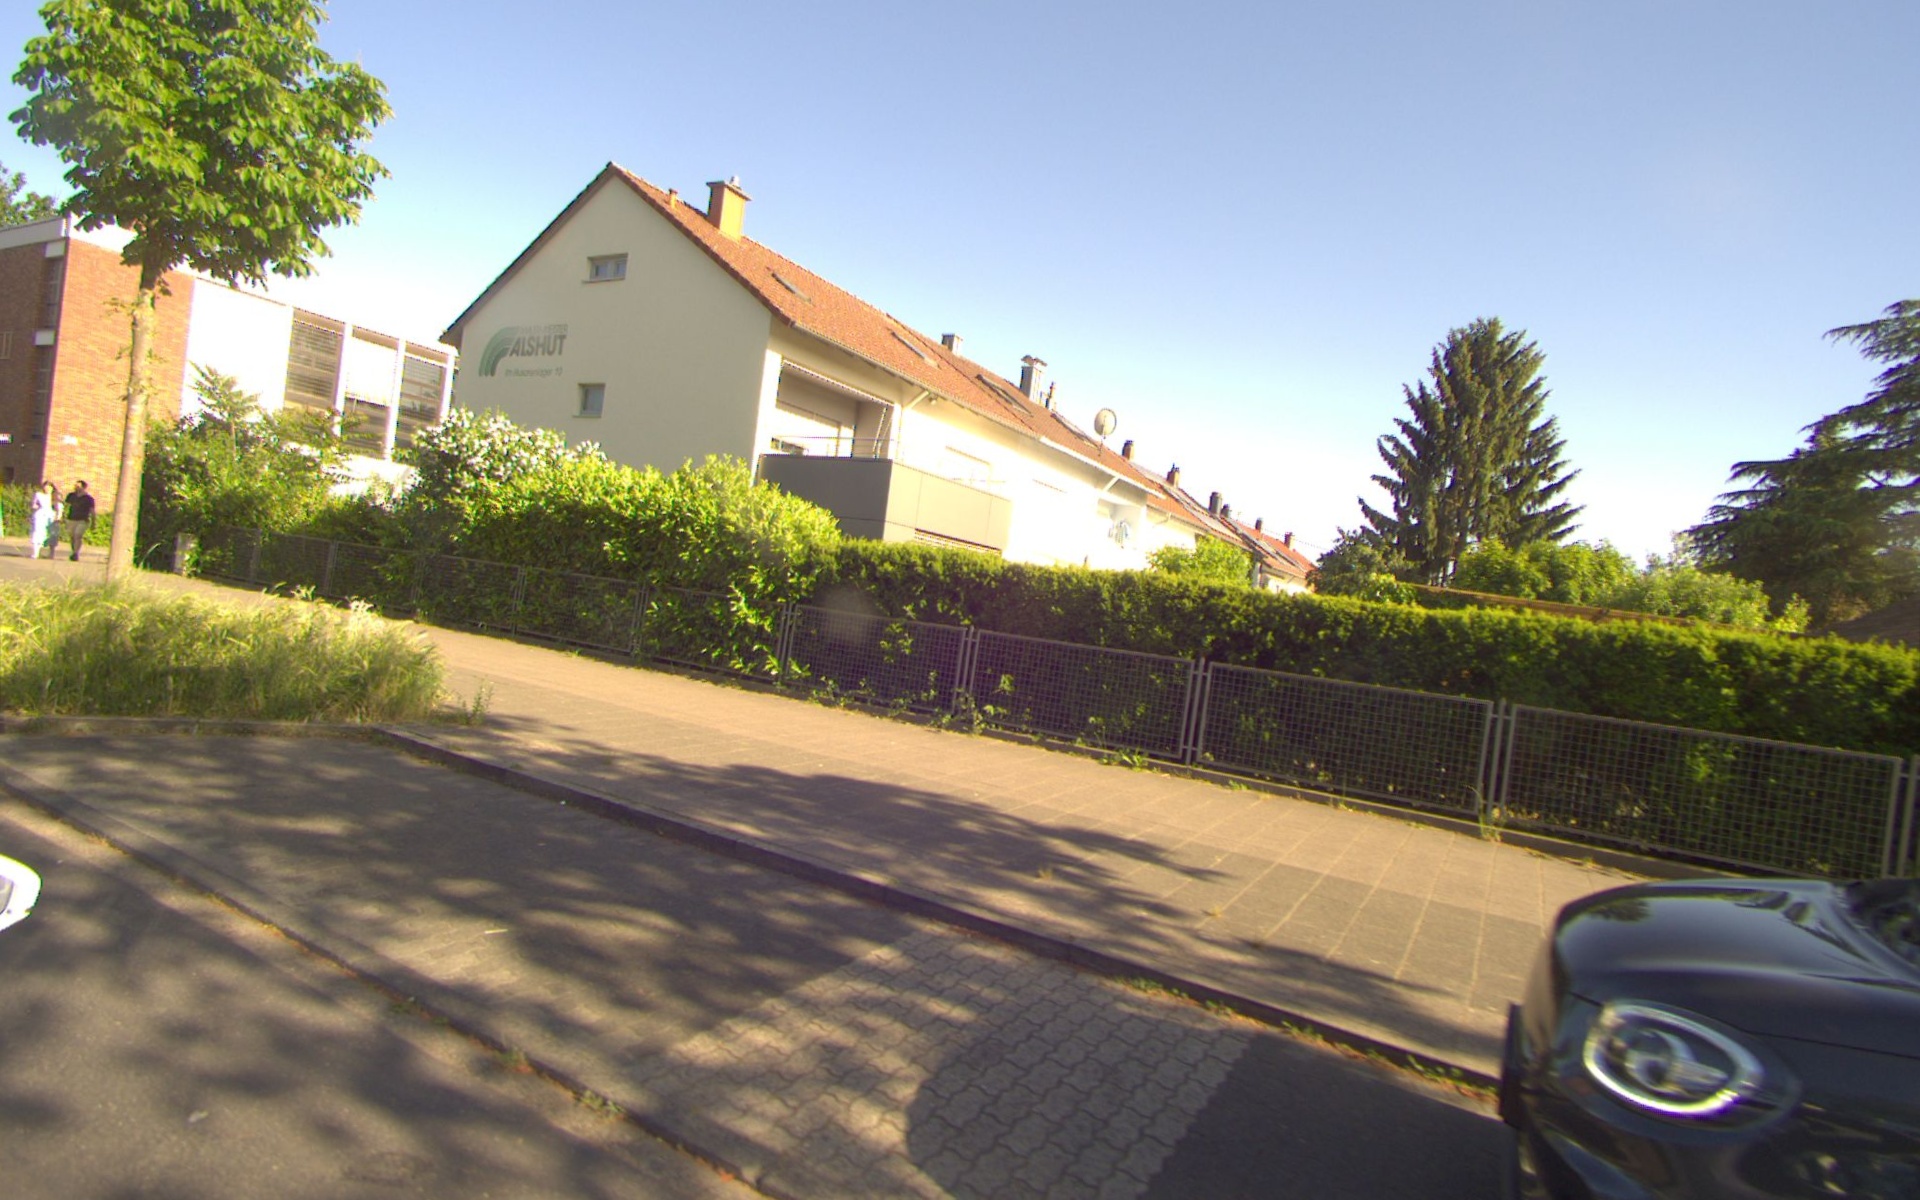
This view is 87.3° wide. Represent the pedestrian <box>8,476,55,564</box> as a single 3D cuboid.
[{"bbox_3d":[-19.569,-1.689,21.207,0.552,1.753,0.653,8,-1,-44],"label":"pedestrian"}]

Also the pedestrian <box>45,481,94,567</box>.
[{"bbox_3d":[-19.144,-1.631,21.622,0.604,1.753,0.631,8,-1,-44],"label":"pedestrian"}]

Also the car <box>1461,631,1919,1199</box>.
[{"bbox_3d":[2.922,1.064,1.749,3.540,1.595,1.494,7,2,30],"label":"car"}]
